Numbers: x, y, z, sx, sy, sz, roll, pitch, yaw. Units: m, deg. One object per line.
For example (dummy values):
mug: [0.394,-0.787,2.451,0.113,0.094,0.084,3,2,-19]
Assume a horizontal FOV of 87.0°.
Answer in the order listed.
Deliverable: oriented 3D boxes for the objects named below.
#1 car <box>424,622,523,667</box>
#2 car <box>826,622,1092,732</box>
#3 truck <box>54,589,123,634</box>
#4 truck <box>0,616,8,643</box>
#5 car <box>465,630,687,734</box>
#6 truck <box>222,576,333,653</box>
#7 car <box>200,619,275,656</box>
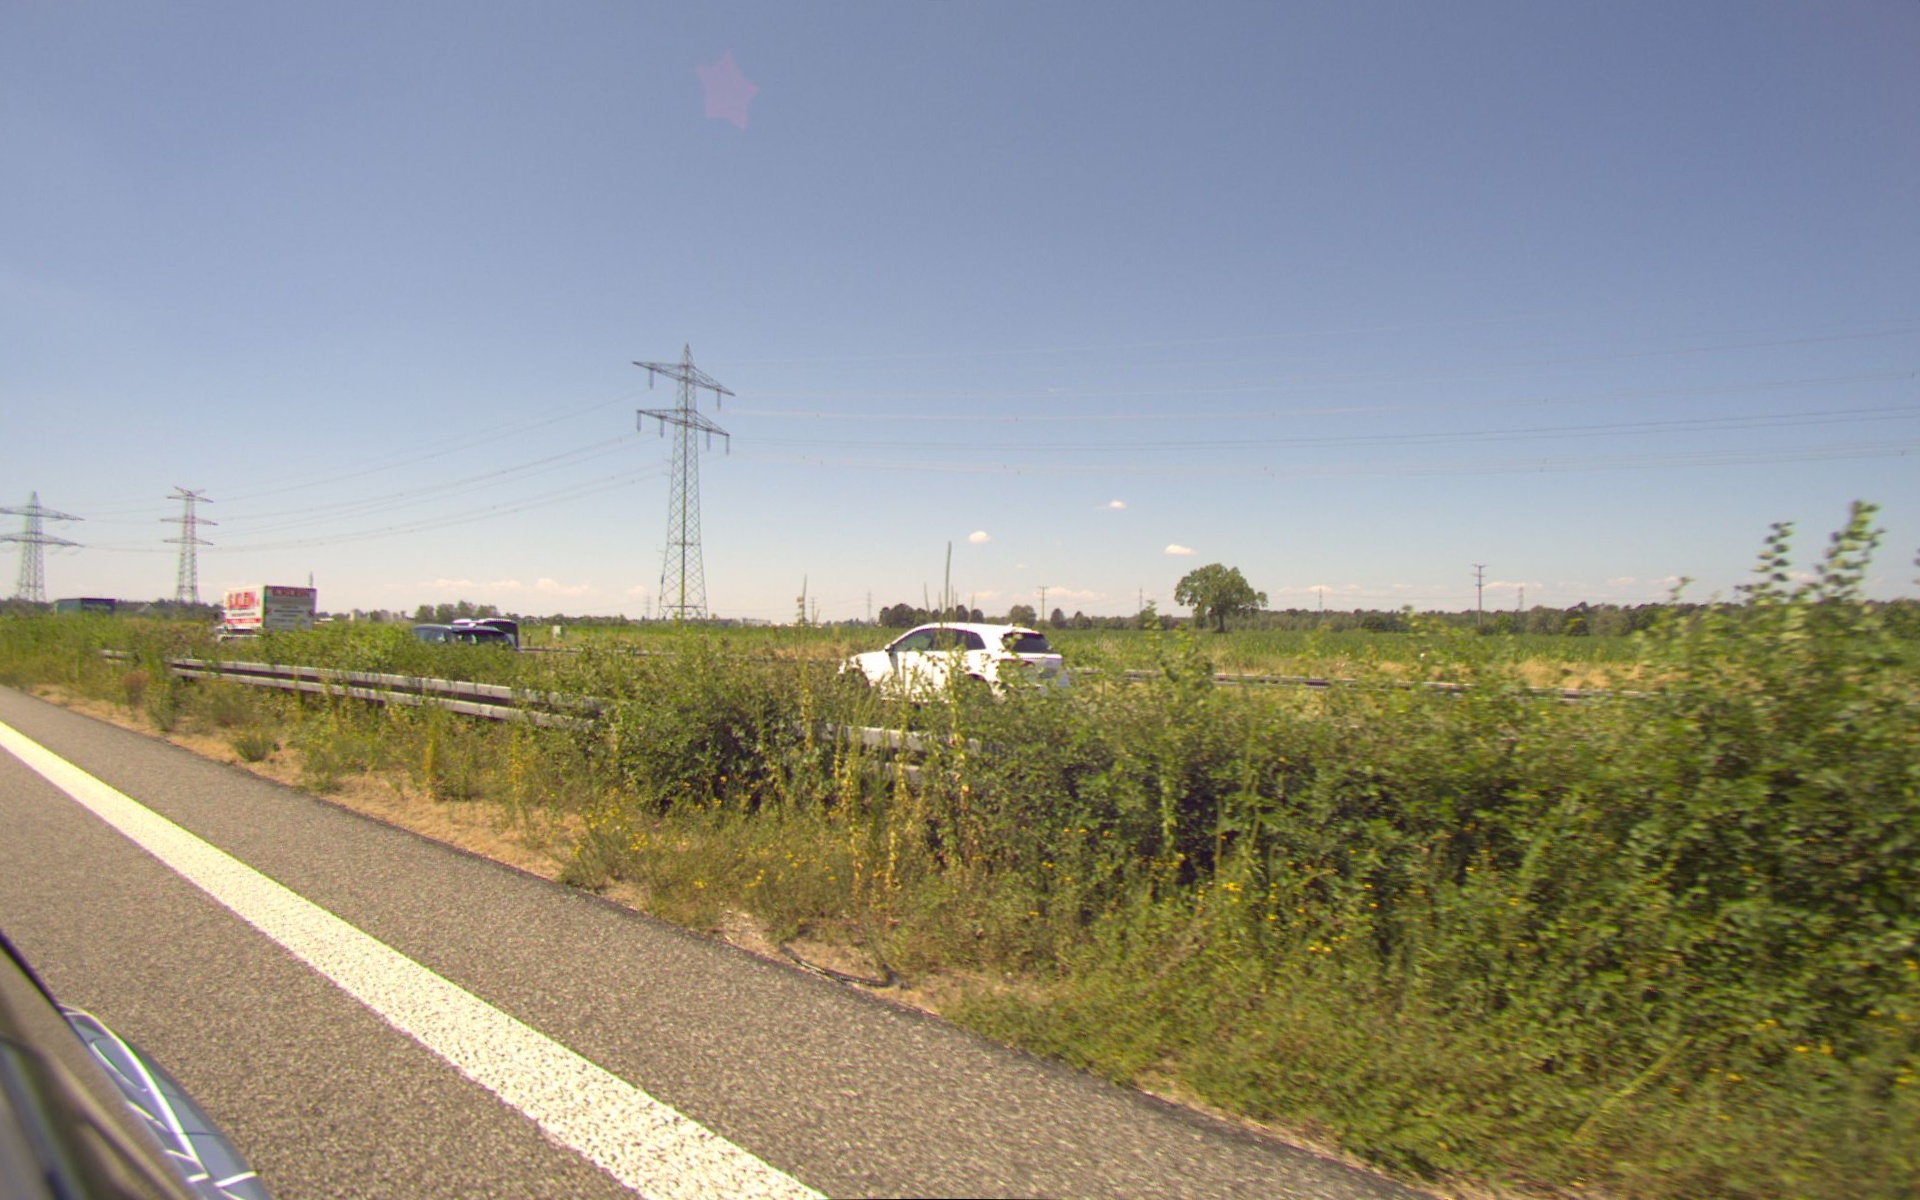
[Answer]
car: [-18.924,1.692,39.284,4.556,1.667,1.842,-1,-2,41]
car: [-0.126,1.225,17.605,4.556,1.667,1.842,-1,-2,41]
truck: [-83.509,1.116,96.858,9.641,4.115,3.462,-1,-2,40]
truck: [-148.662,4.445,154.934,9.641,4.115,3.174,-1,-2,40]
car: [-7.056,1.371,18.378,4.556,1.667,1.842,-1,-2,41]
truck: [-39.242,0.850,58.011,9.649,4.115,3.171,-1,-2,43]
car: [-34.452,1.774,48.222,4.555,1.667,1.842,-1,-2,41]
